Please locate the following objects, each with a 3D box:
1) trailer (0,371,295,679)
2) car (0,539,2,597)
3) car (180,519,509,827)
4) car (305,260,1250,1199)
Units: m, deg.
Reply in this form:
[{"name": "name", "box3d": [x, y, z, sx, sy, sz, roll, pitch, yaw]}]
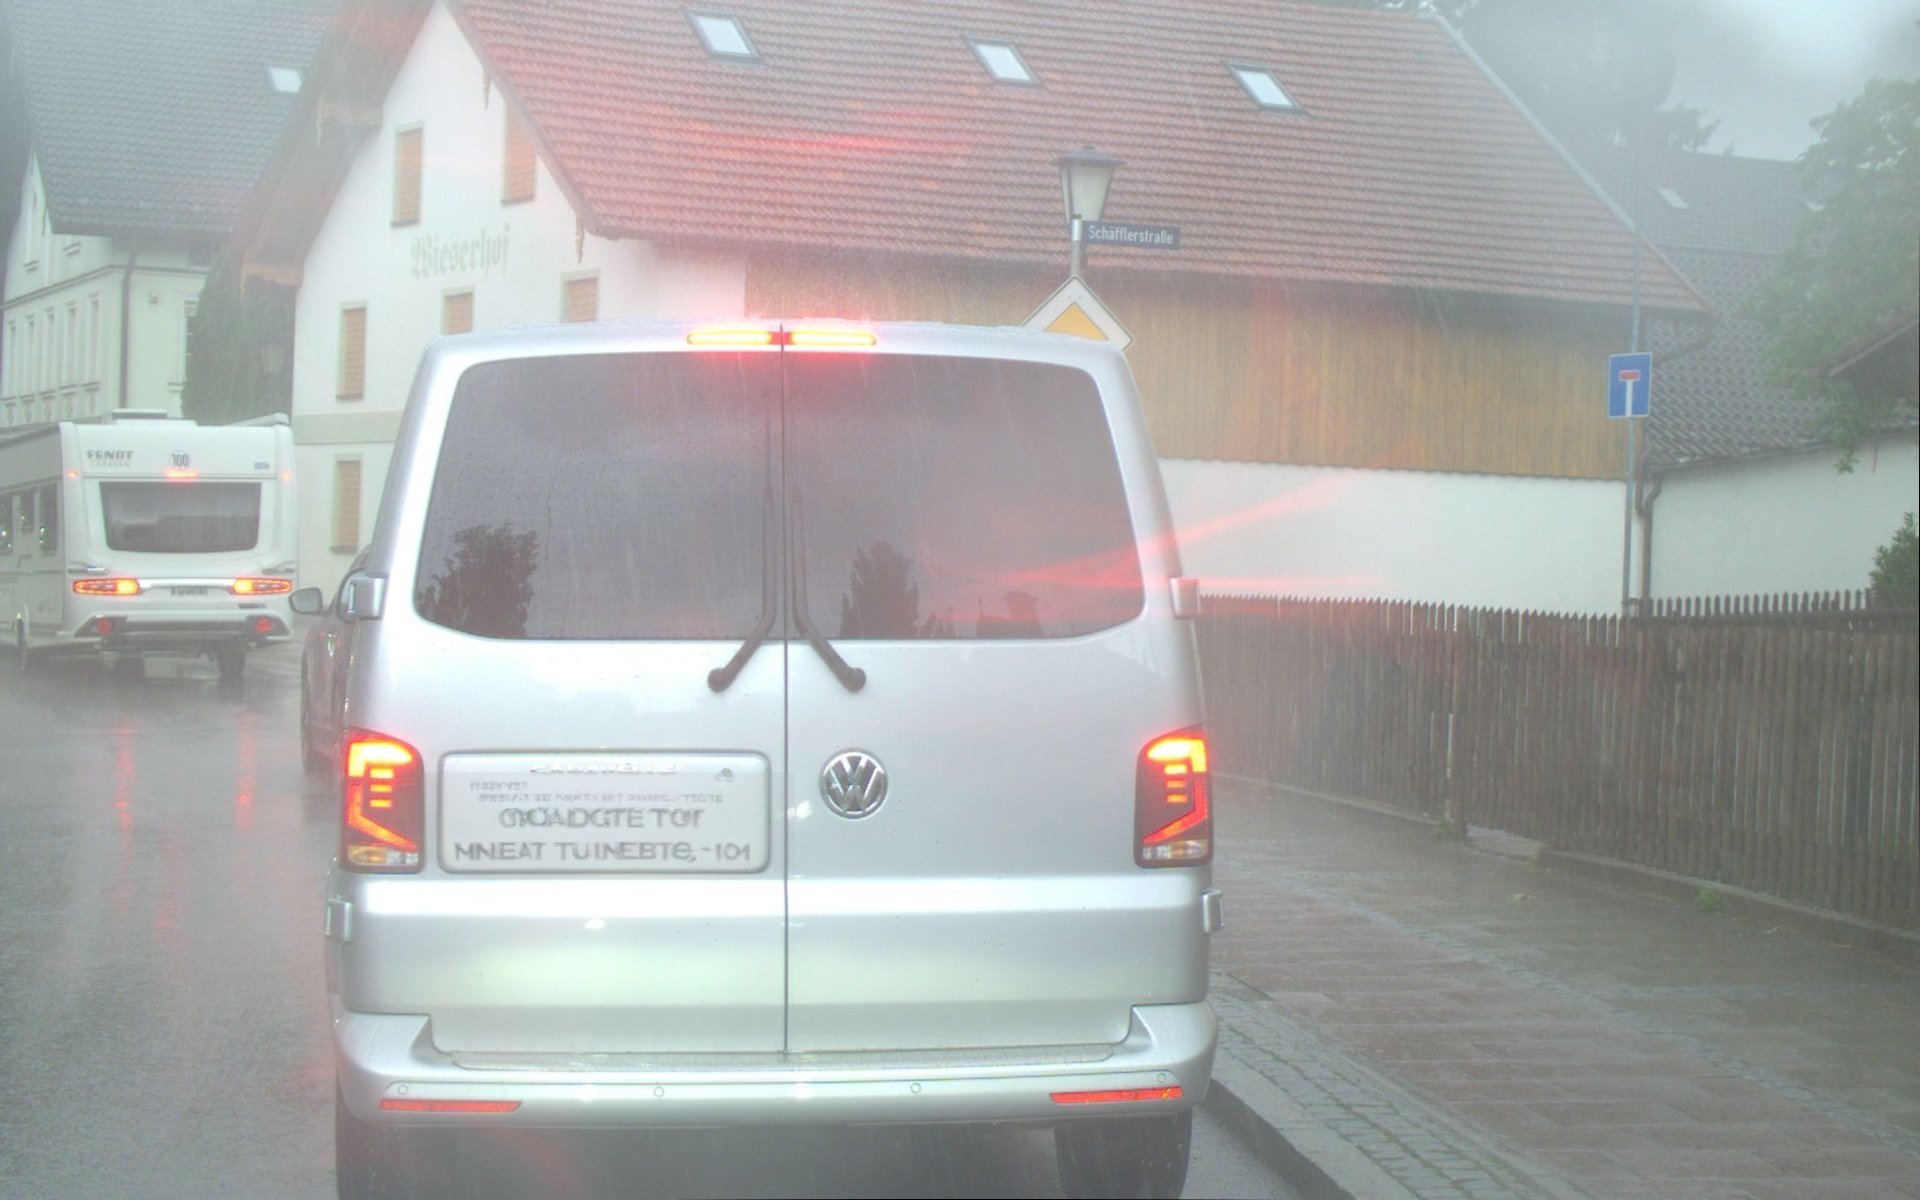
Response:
[{"name": "trailer", "box3d": [-8.645, -0.757, 35.601, 2.270, 2.894, 6.134, 0, 1, -22]}, {"name": "car", "box3d": [-16.665, -0.113, 54.189, 2.168, 1.892, 5.015, 2, 1, -25]}, {"name": "car", "box3d": [-3.648, 0.329, 20.737, 1.708, 1.578, 4.687, -1, 2, -9]}, {"name": "car", "box3d": [-0.424, 0.307, 9.039, 1.776, 1.956, 5.074, 0, 1, -2]}]
